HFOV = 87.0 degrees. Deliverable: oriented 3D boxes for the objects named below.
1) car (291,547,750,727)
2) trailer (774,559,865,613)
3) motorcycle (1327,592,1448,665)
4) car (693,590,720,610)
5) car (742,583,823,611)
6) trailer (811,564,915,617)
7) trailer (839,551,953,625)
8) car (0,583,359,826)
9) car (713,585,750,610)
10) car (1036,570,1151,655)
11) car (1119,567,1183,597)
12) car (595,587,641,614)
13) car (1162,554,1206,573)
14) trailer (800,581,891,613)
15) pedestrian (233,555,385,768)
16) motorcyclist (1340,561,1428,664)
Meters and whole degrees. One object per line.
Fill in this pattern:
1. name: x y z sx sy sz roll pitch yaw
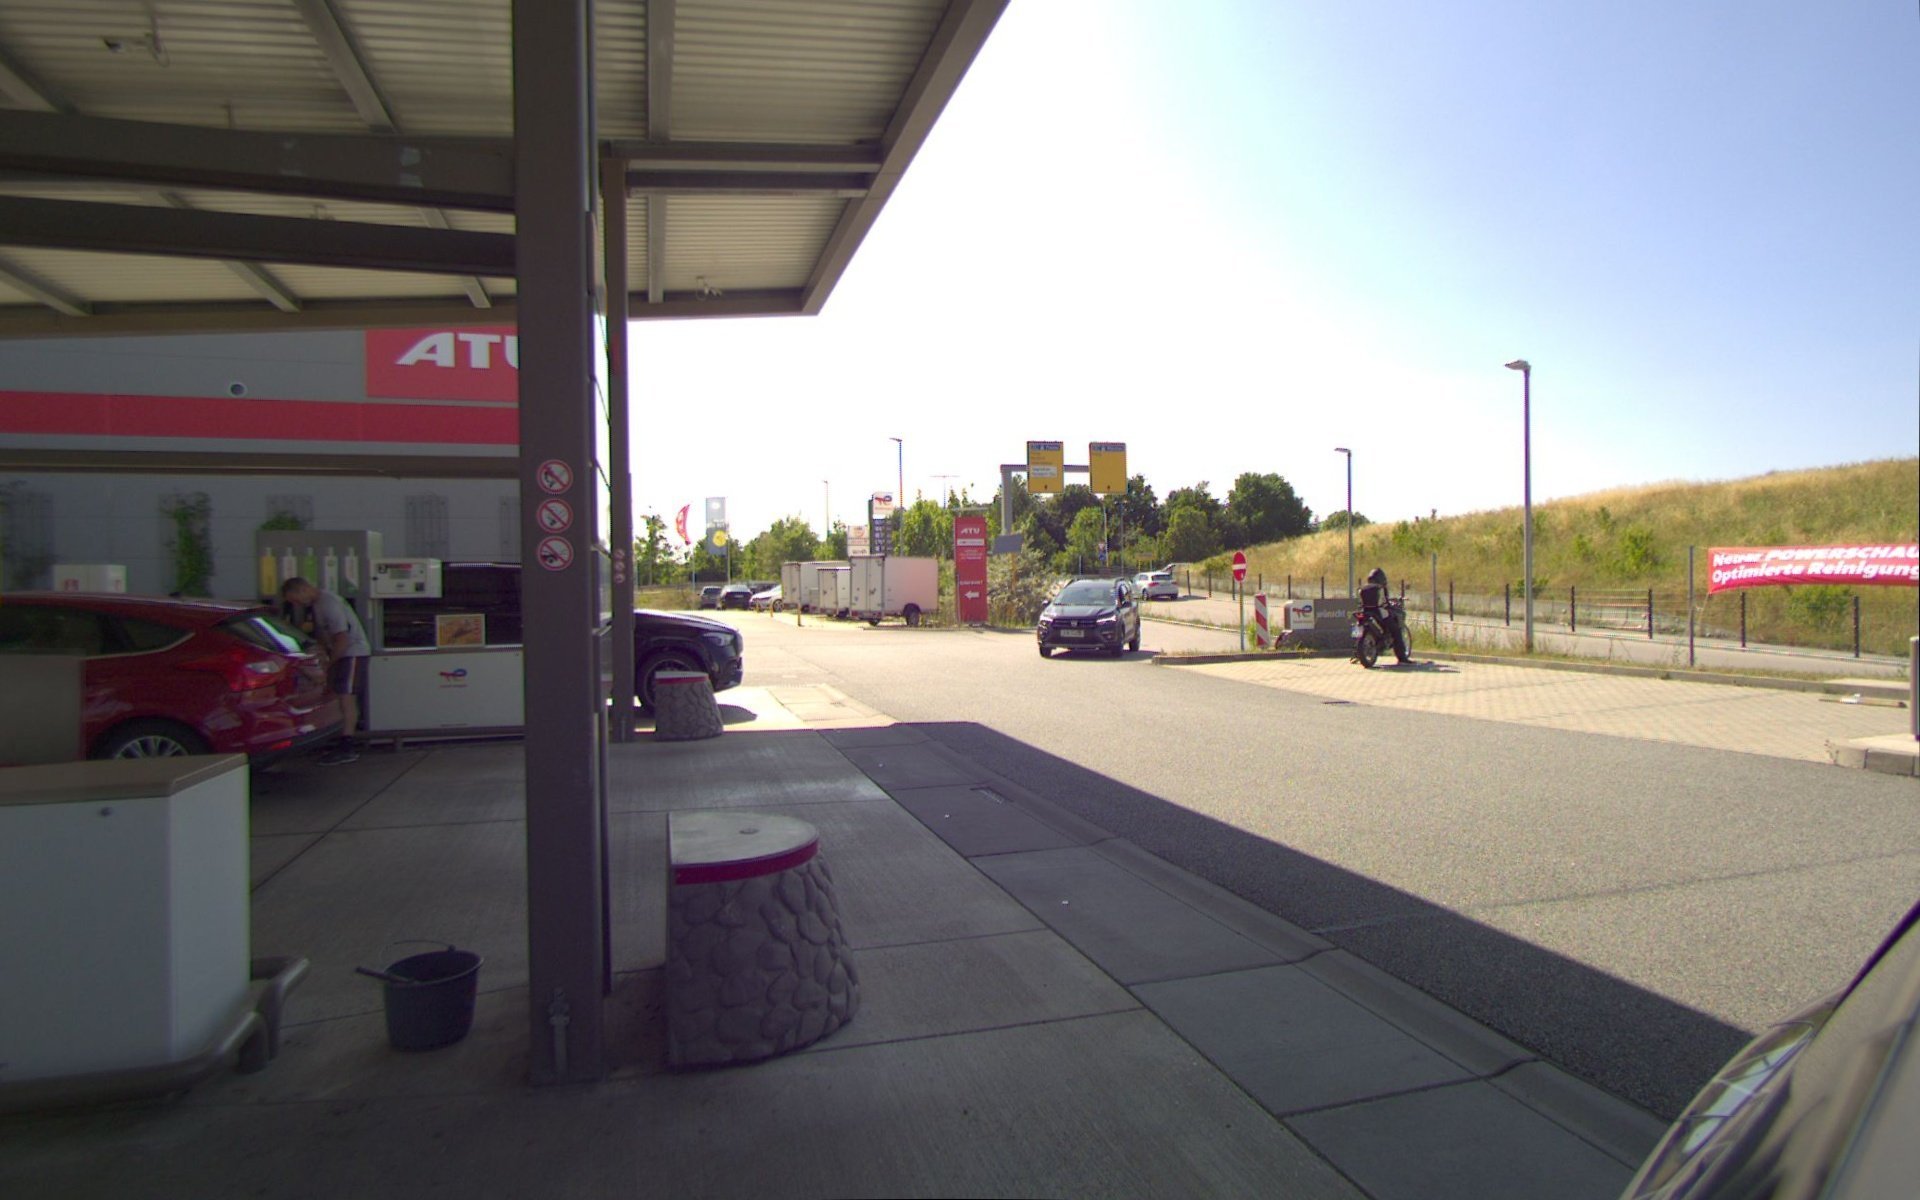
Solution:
1. car: -5.015 0.370 12.194 4.696 1.874 2.039 0 1 -17
2. trailer: -6.710 -0.680 48.517 3.935 2.457 1.995 -2 1 -45
3. motorcycle: 7.481 0.451 17.652 2.375 1.119 1.044 -3 2 -42
4. car: -16.938 -0.014 67.523 1.646 1.319 3.733 -1 1 -16
5. car: -8.737 -0.176 50.061 1.673 1.334 3.782 0 1 39
6. trailer: -3.901 -0.399 41.014 3.932 2.039 1.799 -1 1 -42
7. trailer: -2.213 -0.455 35.786 1.987 2.457 3.950 0 1 35
8. car: -6.690 0.655 6.922 4.143 1.487 1.708 -1 1 -17
9. car: -13.141 -0.162 58.007 1.646 1.334 3.844 -1 1 -19
10. car: 3.041 0.202 22.265 1.721 1.665 4.606 0 1 18
11. car: 9.931 -0.975 52.887 1.671 1.441 4.105 -1 2 -15
12. car: -20.890 0.011 61.742 1.649 1.560 3.836 -1 1 -34
13. car: 25.017 -4.077 112.943 4.442 2.039 2.000 0 1 0
14. trailer: -4.891 -0.132 43.591 3.656 1.297 1.575 -1 1 -42
15. pedestrian: -5.531 0.488 8.651 0.908 1.724 0.705 -1 0 -16
16. motorcyclist: 7.352 0.190 17.542 1.080 1.709 1.033 -1 1 -42
